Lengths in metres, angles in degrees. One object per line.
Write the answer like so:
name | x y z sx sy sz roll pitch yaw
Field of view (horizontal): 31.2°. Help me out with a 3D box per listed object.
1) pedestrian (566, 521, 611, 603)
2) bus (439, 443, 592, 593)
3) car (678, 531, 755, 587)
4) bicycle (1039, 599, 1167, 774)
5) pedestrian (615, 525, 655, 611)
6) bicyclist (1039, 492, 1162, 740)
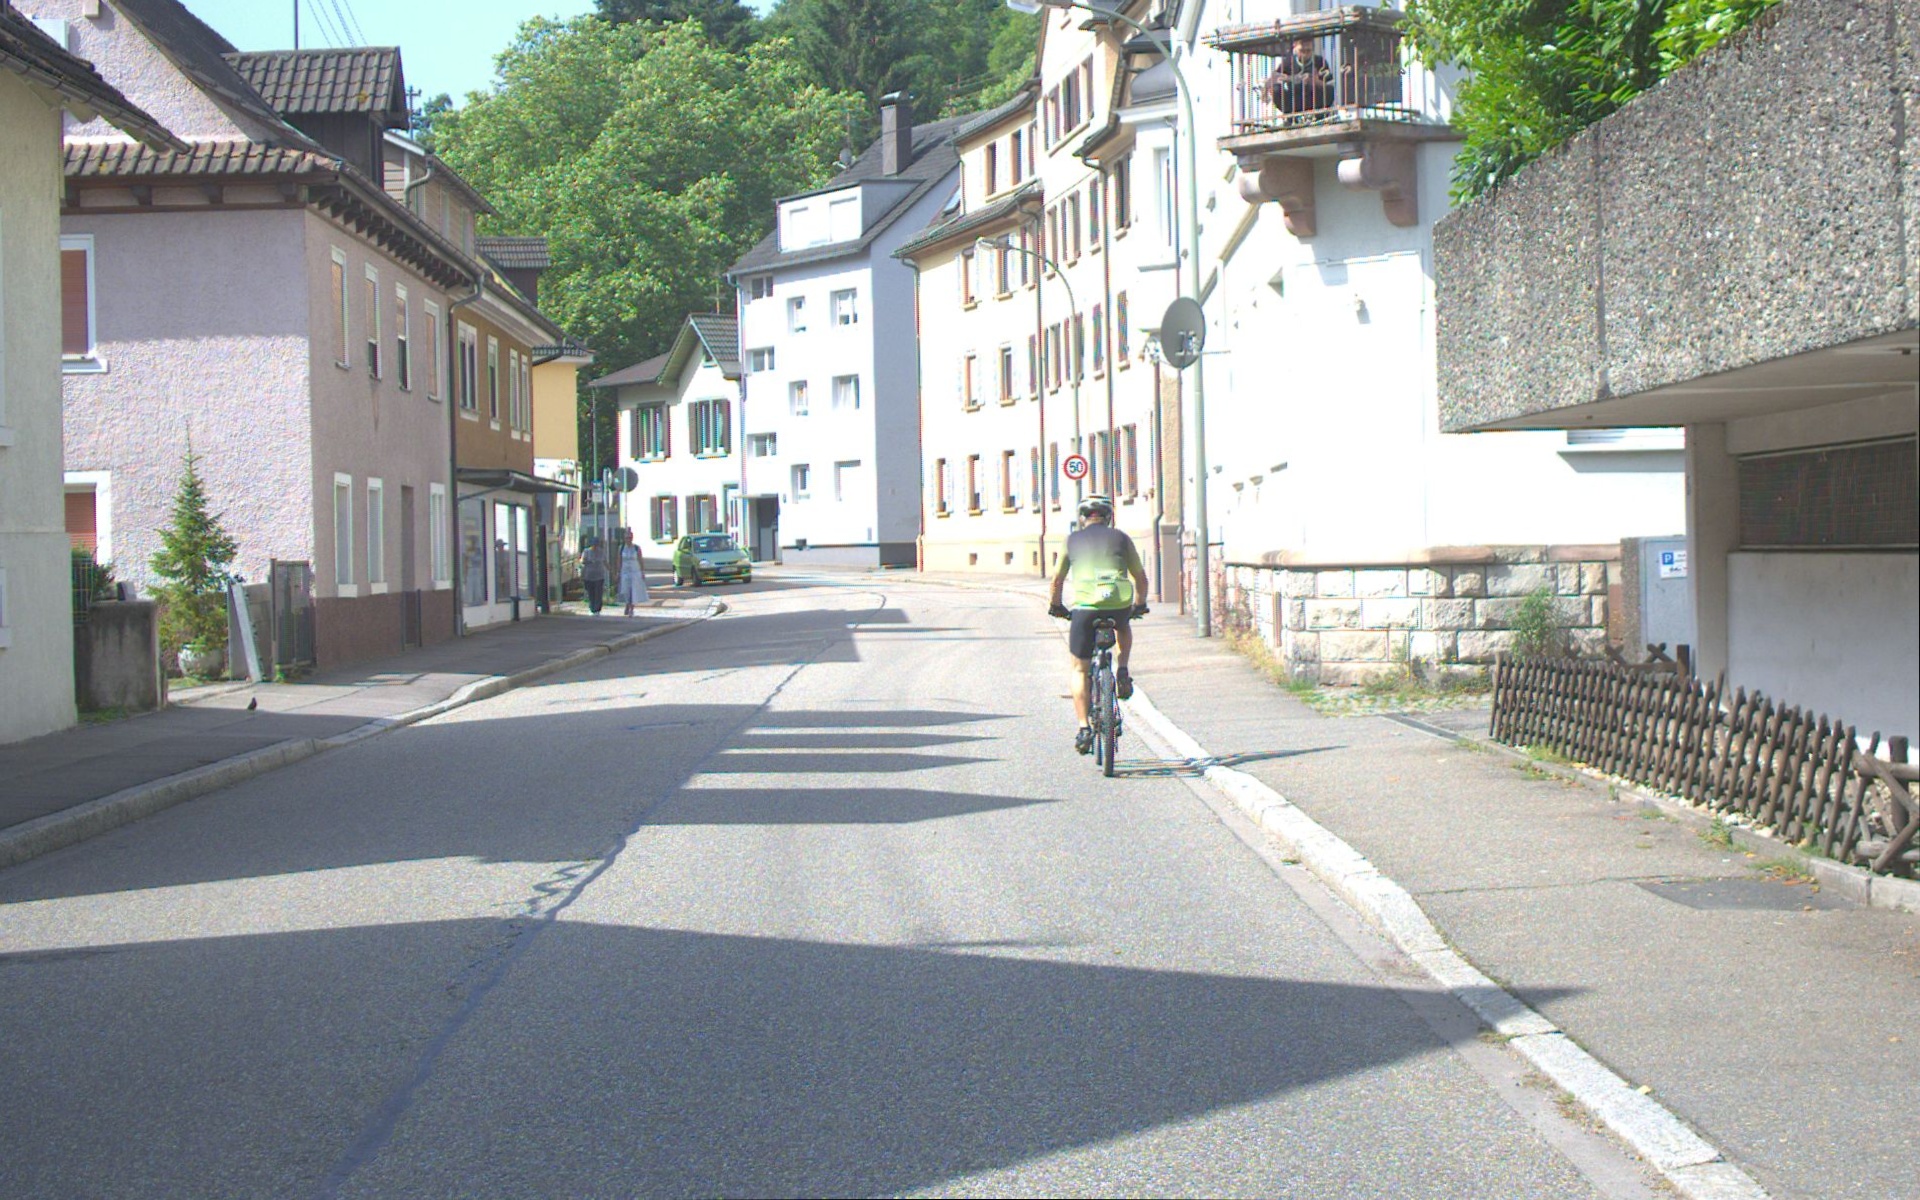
pedestrian | -7.189 -0.738 66.509 0.735 1.559 0.824 2 1 0
bus | -10.121 -1.874 79.042 2.820 3.217 9.037 0 1 -3
car | -6.931 -1.161 97.637 1.596 1.459 3.661 -4 1 -12
bicycle | 0.897 0.535 21.877 0.698 1.032 1.471 0 1 -2
pedestrian | -6.295 -0.621 66.552 0.639 1.621 0.777 2 1 0
bicyclist | 0.882 0.092 21.754 0.685 1.526 0.716 -2 1 -2
